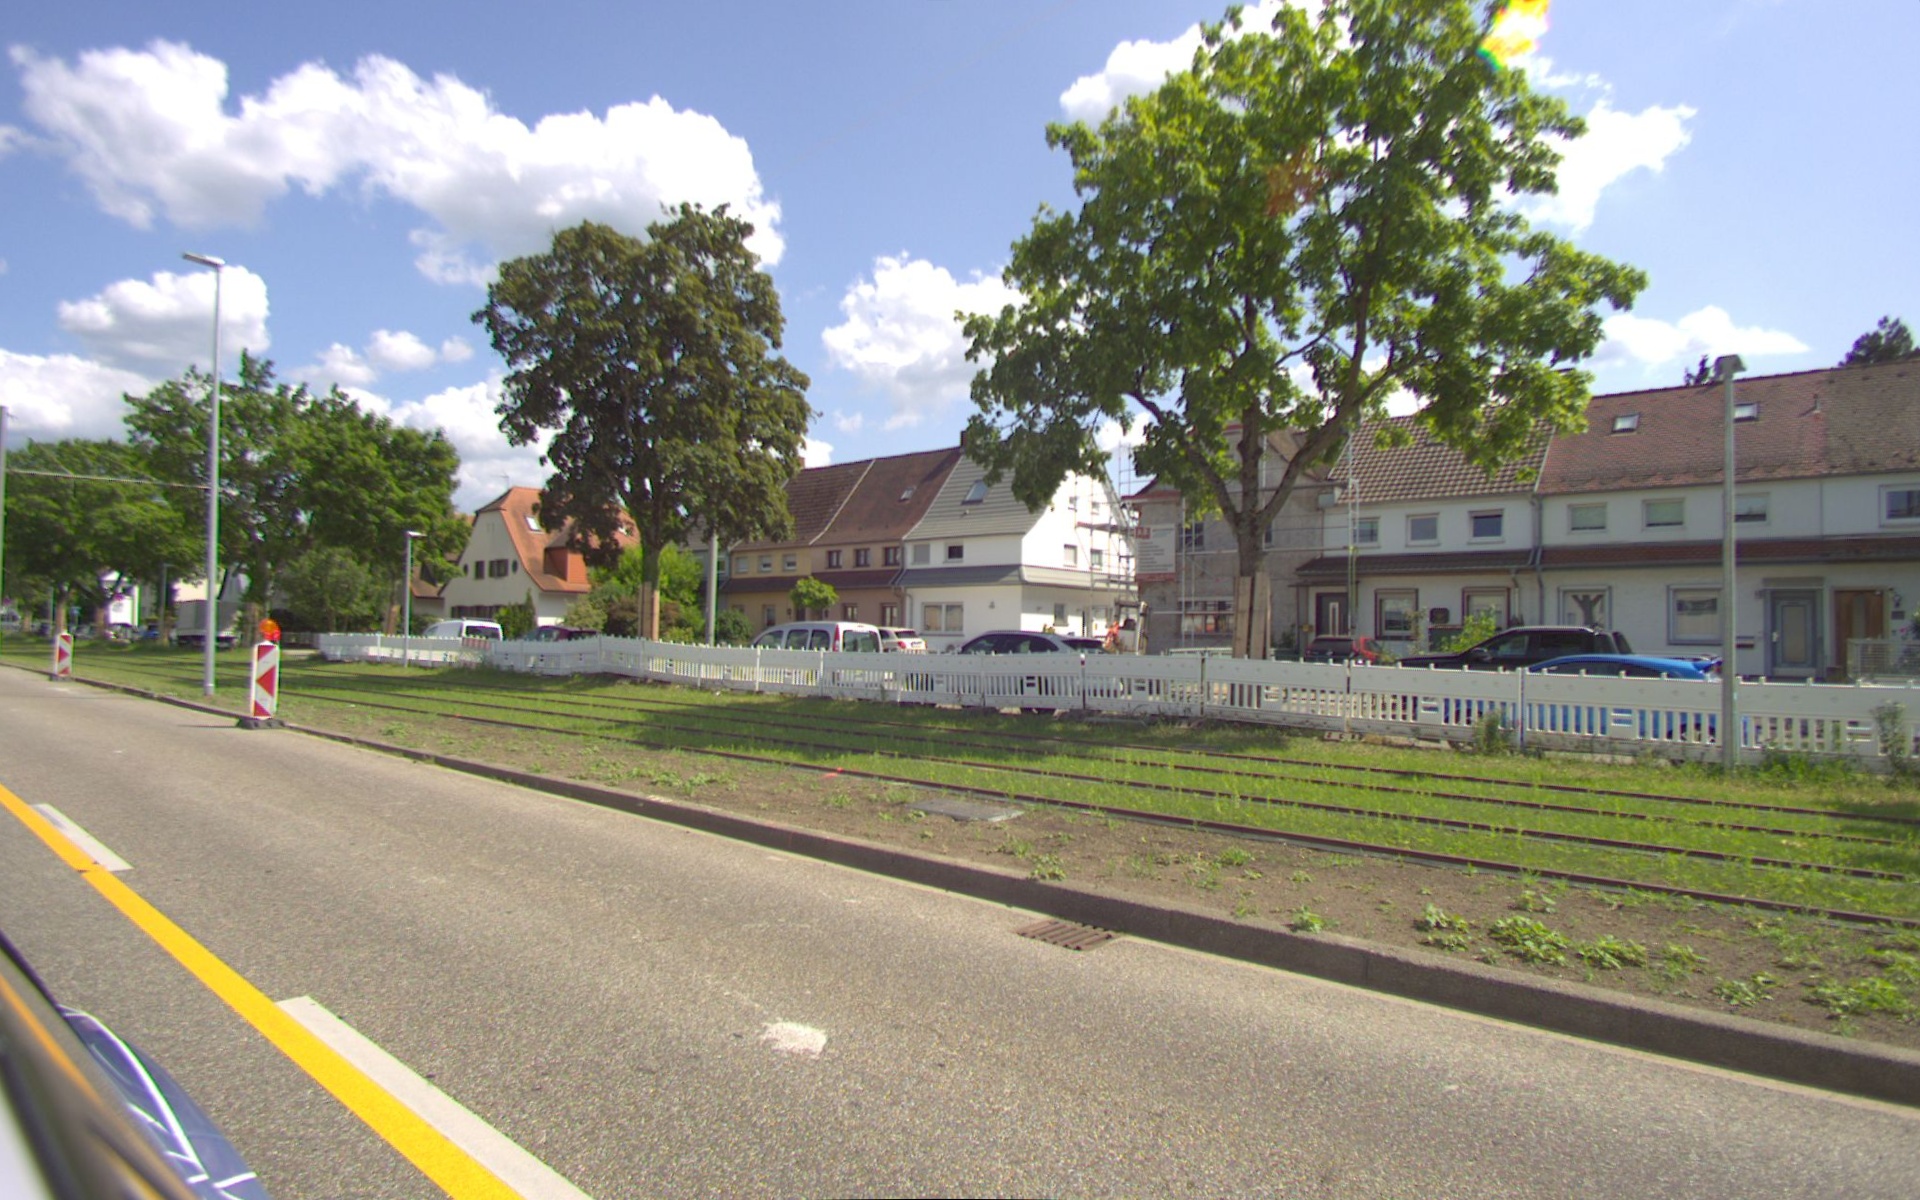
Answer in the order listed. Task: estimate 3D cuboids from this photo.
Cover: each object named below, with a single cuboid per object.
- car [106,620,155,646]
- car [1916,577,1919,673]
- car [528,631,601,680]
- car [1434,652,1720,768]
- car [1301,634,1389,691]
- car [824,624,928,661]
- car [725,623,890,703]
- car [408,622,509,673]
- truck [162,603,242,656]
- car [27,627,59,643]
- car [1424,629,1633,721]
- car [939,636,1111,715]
[{"bbox_3d":[-51.272,2.013,62.556,3.928,1.524,1.651,0,0,40],"label":"car"},{"bbox_3d":[21.537,0.513,19.770,3.997,2.029,1.973,0,0,40],"label":"car"},{"bbox_3d":[-11.815,1.646,30.169,2.449,1.358,1.060,-1,-3,44],"label":"car"},{"bbox_3d":[8.281,1.404,13.691,3.166,1.335,1.327,-1,-3,38],"label":"car"},{"bbox_3d":[10.450,1.643,27.381,1.285,1.390,2.776,0,0,43],"label":"car"},{"bbox_3d":[-3.272,1.623,39.063,4.117,1.285,1.518,0,-3,40],"label":"car"},{"bbox_3d":[-3.616,1.421,23.597,3.896,1.664,1.606,0,-3,40],"label":"car"},{"bbox_3d":[-17.434,1.634,35.139,3.998,1.638,1.636,0,-3,40],"label":"car"},{"bbox_3d":[-42.409,1.582,56.537,5.947,2.826,2.341,0,-1,41],"label":"truck"},{"bbox_3d":[-80.620,3.067,88.953,3.997,1.311,1.616,0,0,41],"label":"car"},{"bbox_3d":[10.192,1.291,18.234,3.091,1.506,1.342,-1,-3,40],"label":"car"},{"bbox_3d":[1.211,1.405,19.423,3.112,1.388,1.336,-2,-4,40],"label":"car"}]
